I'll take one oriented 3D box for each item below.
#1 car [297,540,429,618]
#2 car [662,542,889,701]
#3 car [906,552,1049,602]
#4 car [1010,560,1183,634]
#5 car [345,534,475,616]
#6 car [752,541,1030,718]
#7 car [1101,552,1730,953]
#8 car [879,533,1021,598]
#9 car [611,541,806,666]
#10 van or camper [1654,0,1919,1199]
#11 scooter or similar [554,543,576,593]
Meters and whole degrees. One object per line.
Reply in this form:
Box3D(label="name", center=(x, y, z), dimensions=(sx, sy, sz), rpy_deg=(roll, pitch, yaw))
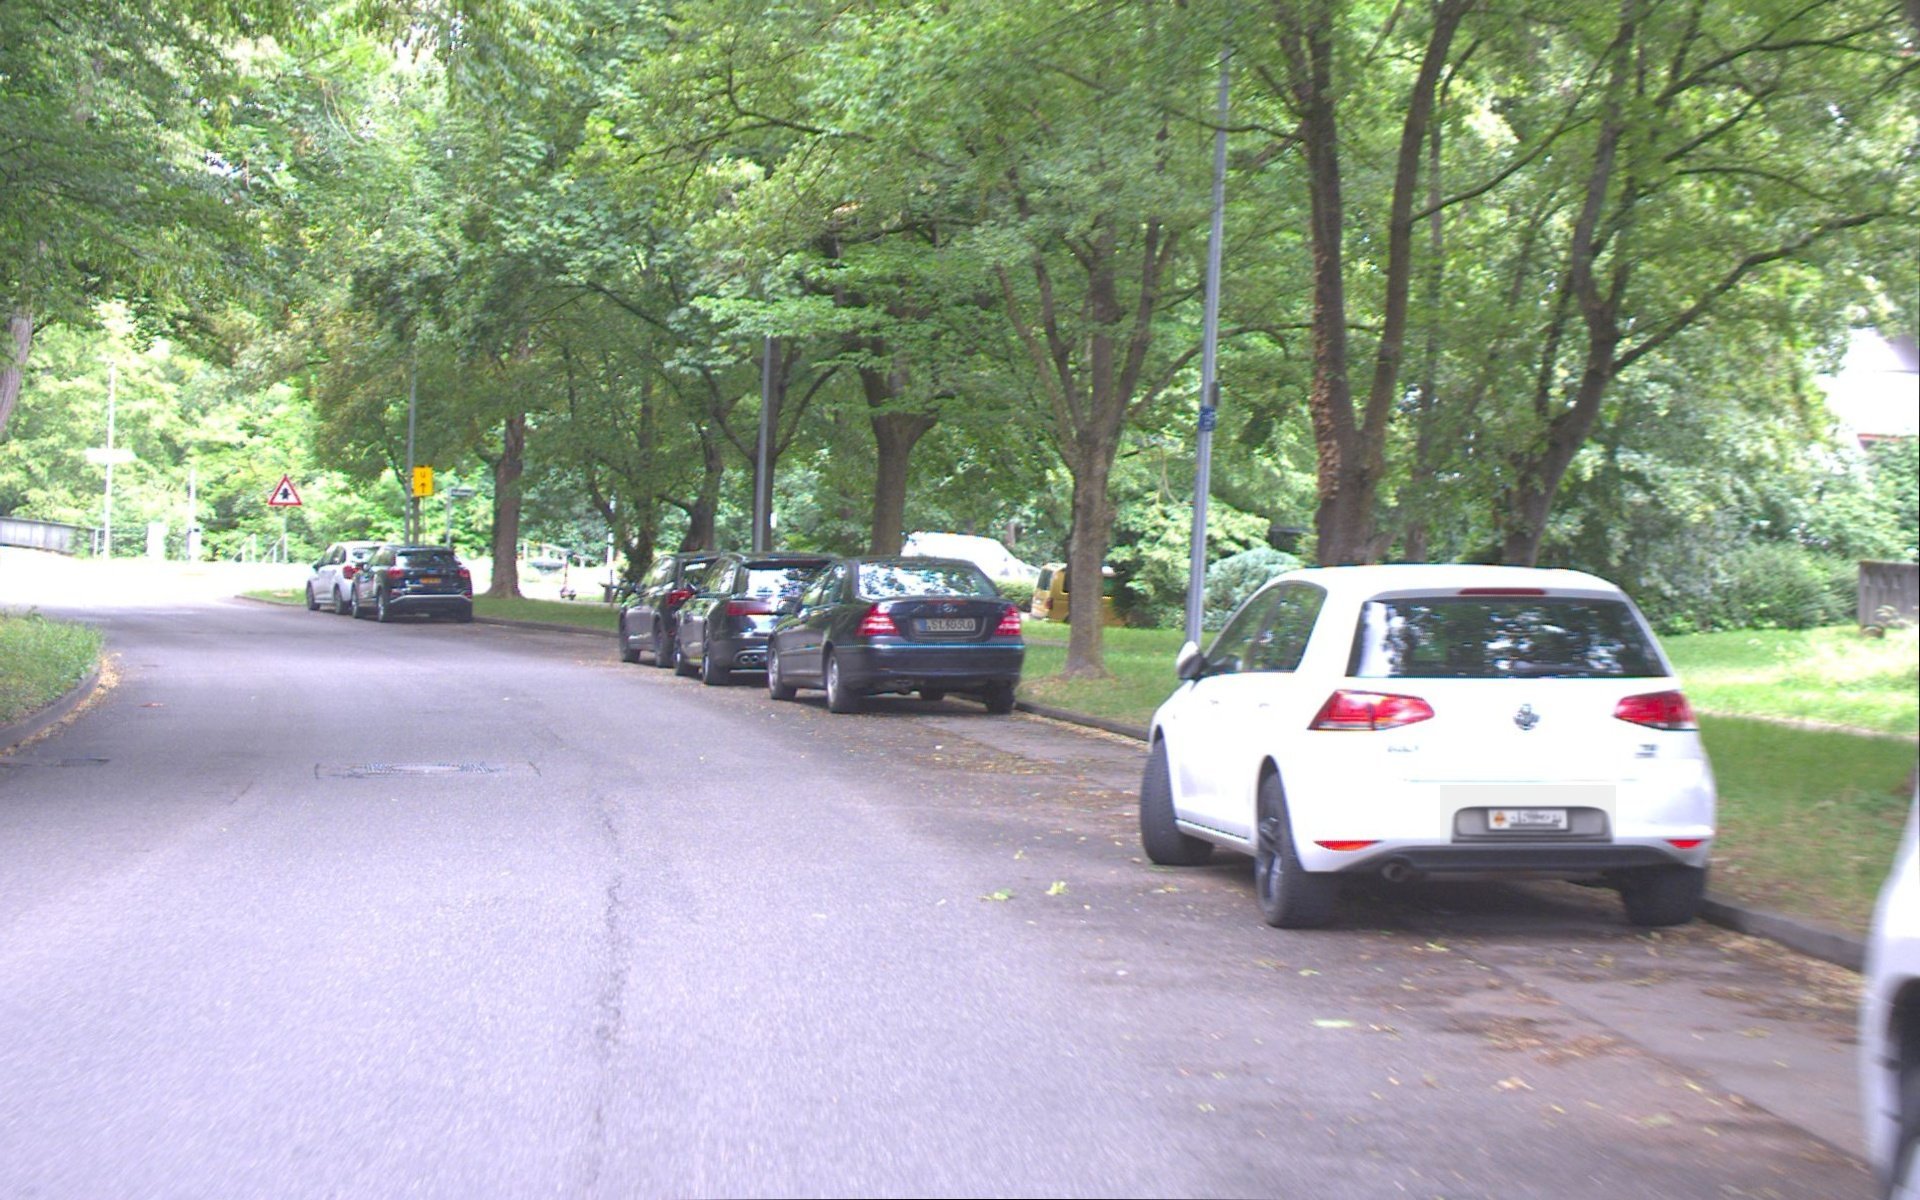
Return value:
Box3D(label="car", center=(-12.567, -0.459, 72.216), dimensions=(1.773, 1.517, 3.782), rpy_deg=(1, 1, -25))
Box3D(label="car", center=(-2.126, 0.189, 38.206), dimensions=(1.913, 1.606, 4.736), rpy_deg=(1, 1, -10))
Box3D(label="car", center=(0.546, -0.746, 110.027), dimensions=(4.204, 1.493, 1.800), rpy_deg=(1, 1, -17))
Box3D(label="car", center=(3.755, -0.088, 95.030), dimensions=(4.395, 1.842, 1.833), rpy_deg=(2, 1, -13))
Box3D(label="car", center=(-10.933, -0.520, 68.107), dimensions=(1.773, 1.517, 4.184), rpy_deg=(1, 1, -20))
Box3D(label="car", center=(-0.718, 0.225, 32.020), dimensions=(1.588, 1.460, 4.318), rpy_deg=(1, 1, -15))
Box3D(label="car", center=(1.834, 0.561, 15.167), dimensions=(1.688, 1.477, 4.108), rpy_deg=(1, 1, -8))
Box3D(label="car", center=(-0.334, -1.132, 112.899), dimensions=(4.204, 2.007, 2.001), rpy_deg=(1, 1, -17))
Box3D(label="car", center=(-3.222, 0.016, 43.379), dimensions=(1.681, 1.459, 3.899), rpy_deg=(1, 1, -16))
Box3D(label="van or camper", center=(2.665, -0.011, 2.993), dimensions=(2.424, 2.969, 7.394), rpy_deg=(1, 1, -1))
Box3D(label="scooter or similar", center=(-10.388, -0.851, 90.460), dimensions=(0.282, 1.282, 1.108), rpy_deg=(2, 1, -20))
